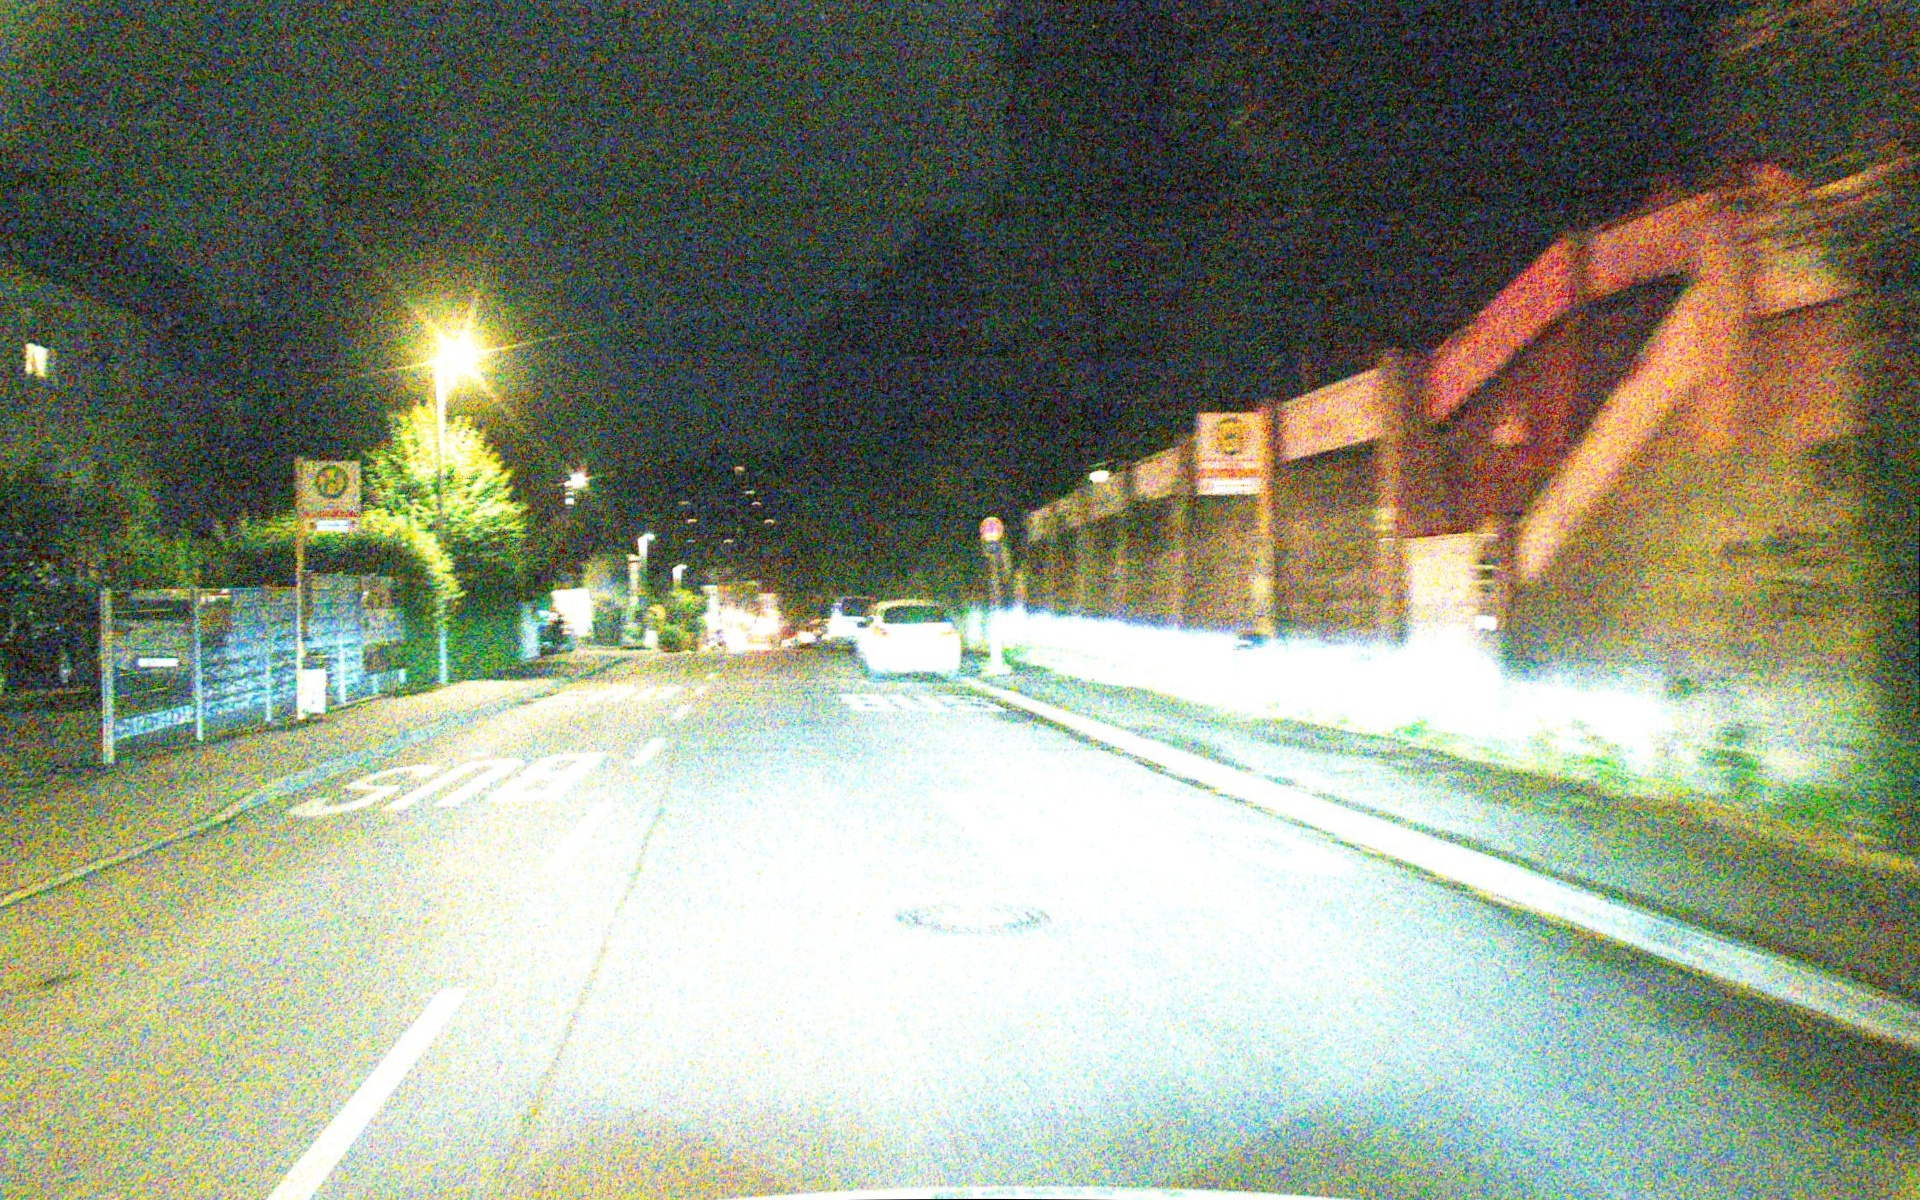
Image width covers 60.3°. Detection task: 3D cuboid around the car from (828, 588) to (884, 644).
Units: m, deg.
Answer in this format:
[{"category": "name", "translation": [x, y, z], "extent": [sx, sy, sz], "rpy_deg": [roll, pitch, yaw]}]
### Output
[{"category": "car", "translation": [-3.515, 0.544, 55.292], "extent": [1.685, 1.792, 4.751], "rpy_deg": [0, -1, -6]}]

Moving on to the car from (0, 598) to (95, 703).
[{"category": "car", "translation": [-14.390, 0.702, 24.138], "extent": [1.814, 1.452, 3.994], "rpy_deg": [0, 0, -7]}]

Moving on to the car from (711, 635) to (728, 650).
[{"category": "car", "translation": [-26.671, 4.734, 183.669], "extent": [1.721, 1.566, 3.721], "rpy_deg": [-1, -2, -10]}]

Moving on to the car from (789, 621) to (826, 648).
[{"category": "car", "translation": [-8.846, 1.991, 95.551], "extent": [1.731, 1.502, 4.264], "rpy_deg": [1, -2, -10]}]

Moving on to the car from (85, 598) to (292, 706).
[{"category": "car", "translation": [-11.431, 0.713, 24.798], "extent": [1.940, 1.464, 3.988], "rpy_deg": [0, 0, -12]}]

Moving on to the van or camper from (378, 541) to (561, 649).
[{"category": "van or camper", "translation": [-15.120, -0.102, 51.214], "extent": [5.312, 3.166, 2.122], "rpy_deg": [0, -4, -17]}]

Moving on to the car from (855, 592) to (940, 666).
[{"category": "car", "translation": [-1.482, 0.633, 38.163], "extent": [1.578, 1.486, 3.711], "rpy_deg": [-3, 1, -7]}]

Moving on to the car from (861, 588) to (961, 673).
[{"category": "car", "translation": [-1.061, 0.579, 33.678], "extent": [1.721, 1.622, 4.722], "rpy_deg": [0, 0, -6]}]

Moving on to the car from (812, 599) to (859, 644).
[{"category": "car", "translation": [-5.003, 0.890, 66.288], "extent": [1.796, 1.693, 4.613], "rpy_deg": [-1, -2, -5]}]

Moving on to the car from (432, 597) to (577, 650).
[{"category": "car", "translation": [-15.078, 0.801, 54.978], "extent": [4.332, 1.642, 2.062], "rpy_deg": [-1, -2, -6]}]

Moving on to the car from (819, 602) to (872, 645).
[{"category": "car", "translation": [-4.241, 0.872, 60.723], "extent": [1.710, 1.496, 4.249], "rpy_deg": [1, -1, -7]}]
